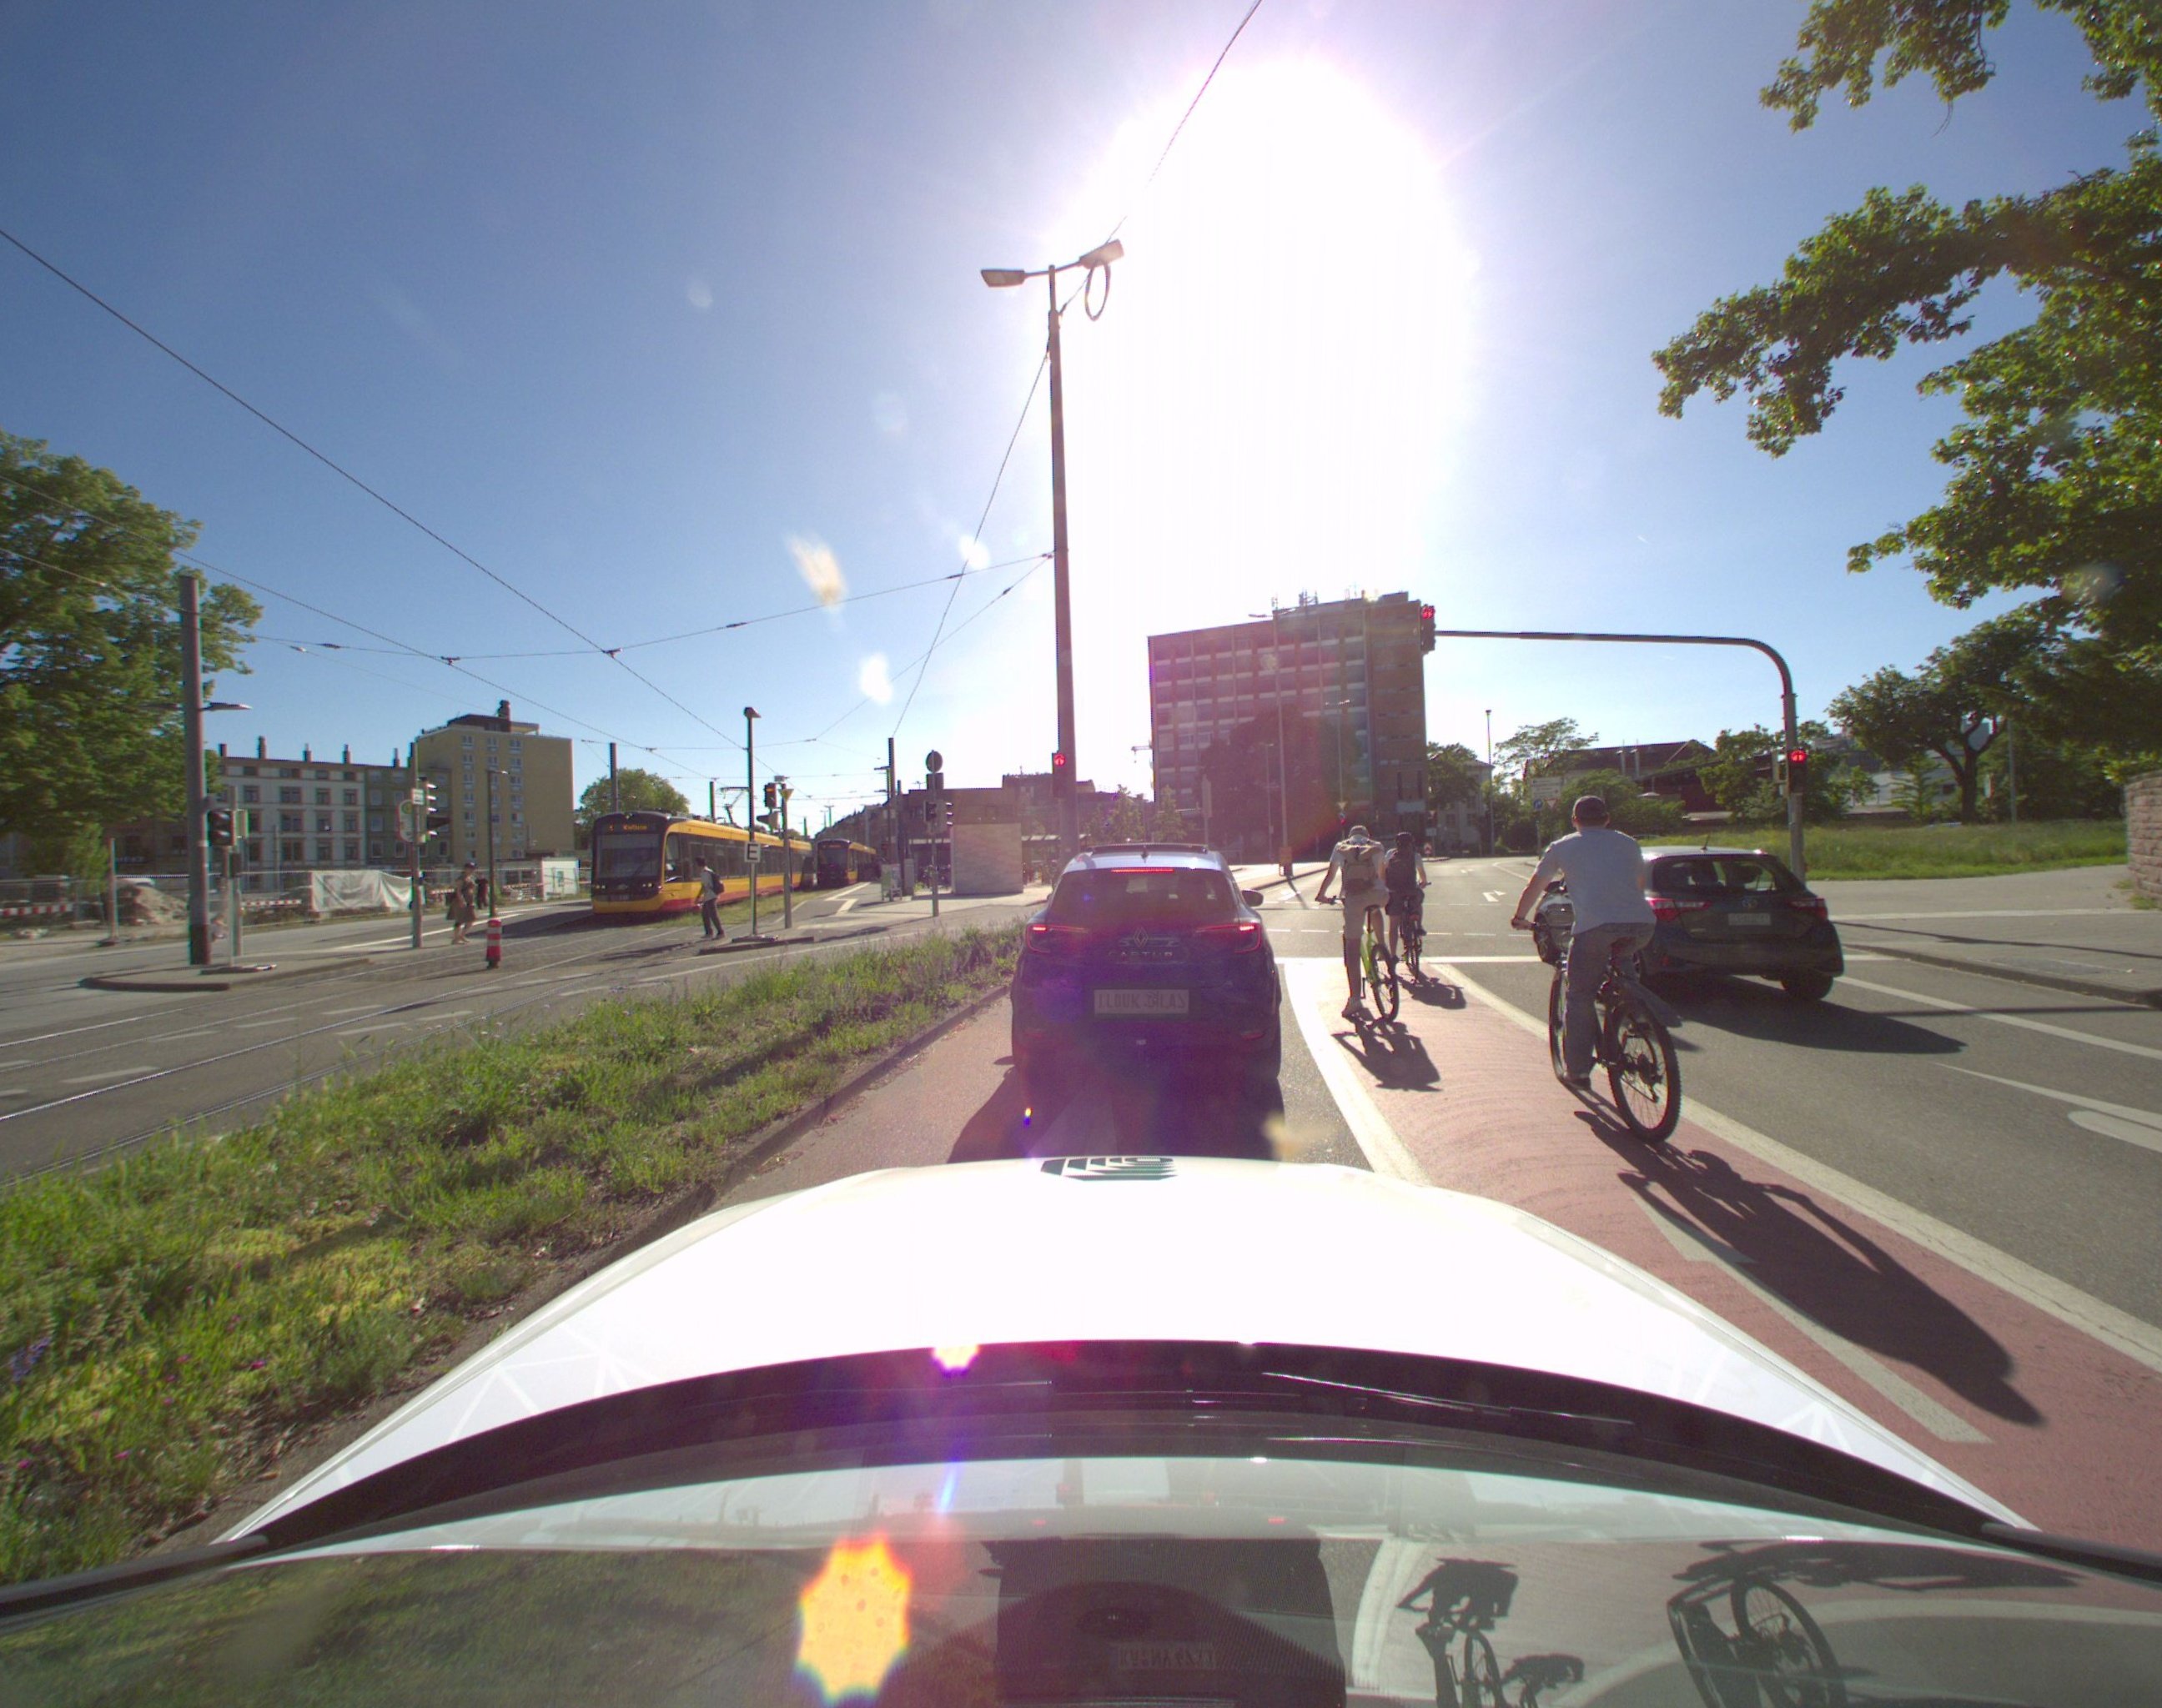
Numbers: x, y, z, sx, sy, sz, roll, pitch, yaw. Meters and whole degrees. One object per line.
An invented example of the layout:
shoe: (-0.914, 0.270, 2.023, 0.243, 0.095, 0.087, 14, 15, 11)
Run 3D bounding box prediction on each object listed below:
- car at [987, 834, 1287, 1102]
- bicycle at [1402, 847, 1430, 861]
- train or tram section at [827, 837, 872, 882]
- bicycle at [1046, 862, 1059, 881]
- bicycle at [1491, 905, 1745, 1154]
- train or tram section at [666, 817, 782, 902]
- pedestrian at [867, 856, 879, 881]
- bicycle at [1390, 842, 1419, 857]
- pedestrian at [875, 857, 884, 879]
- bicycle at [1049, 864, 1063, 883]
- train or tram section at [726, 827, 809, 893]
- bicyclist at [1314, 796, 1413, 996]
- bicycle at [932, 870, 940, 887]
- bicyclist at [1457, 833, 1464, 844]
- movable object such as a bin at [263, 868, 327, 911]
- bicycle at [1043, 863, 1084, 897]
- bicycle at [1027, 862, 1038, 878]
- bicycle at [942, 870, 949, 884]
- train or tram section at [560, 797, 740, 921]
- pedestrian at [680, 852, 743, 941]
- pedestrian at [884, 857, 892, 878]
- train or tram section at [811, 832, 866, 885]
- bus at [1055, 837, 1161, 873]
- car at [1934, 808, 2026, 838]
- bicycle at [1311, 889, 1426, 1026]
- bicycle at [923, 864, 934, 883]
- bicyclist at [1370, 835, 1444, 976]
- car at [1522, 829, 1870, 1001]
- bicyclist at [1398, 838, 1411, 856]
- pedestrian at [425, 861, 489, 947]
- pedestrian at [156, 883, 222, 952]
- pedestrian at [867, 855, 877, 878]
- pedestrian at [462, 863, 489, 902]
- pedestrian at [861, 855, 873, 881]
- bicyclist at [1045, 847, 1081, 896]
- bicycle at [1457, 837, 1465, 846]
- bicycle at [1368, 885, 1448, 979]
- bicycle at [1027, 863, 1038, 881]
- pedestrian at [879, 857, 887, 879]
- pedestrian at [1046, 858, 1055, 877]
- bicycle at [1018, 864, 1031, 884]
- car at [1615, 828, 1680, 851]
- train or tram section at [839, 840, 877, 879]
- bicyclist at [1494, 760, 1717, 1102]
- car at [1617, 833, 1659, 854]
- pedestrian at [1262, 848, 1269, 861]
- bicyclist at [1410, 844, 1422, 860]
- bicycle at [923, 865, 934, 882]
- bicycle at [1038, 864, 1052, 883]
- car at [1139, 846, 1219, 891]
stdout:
car: (0.568, 0.689, 6.796, 1.813, 1.600, 3.666, -1, 0, 8)
bicycle: (38.063, 0.040, 92.551, 2.780, 1.541, 0.888, -1, -2, 15)
train or tram section: (-19.758, 0.456, 69.988, 2.873, 3.508, 10.499, -1, 0, -12)
bicycle: (-1.715, 1.058, 48.960, 0.580, 1.088, 2.053, -1, -1, -7)
bicycle: (3.055, 0.905, 4.861, 0.607, 1.077, 1.836, -2, 0, 12)
train or tram section: (-16.822, 0.257, 39.257, 2.818, 3.508, 10.569, -1, 0, -11)
pedestrian: (-15.843, 1.123, 62.106, 0.848, 1.883, 0.757, -1, -2, -14)
bicycle: (35.266, -0.473, 88.729, 2.775, 1.541, 0.889, -2, -2, 27)
pedestrian: (-17.844, 1.245, 72.105, 0.631, 1.857, 0.701, -1, -2, -7)
bicycle: (-1.322, 1.033, 43.303, 0.580, 0.961, 2.053, -1, -1, -7)
train or tram section: (-18.936, 0.373, 49.925, 2.818, 3.508, 11.166, -1, 0, -11)
bicyclist: (2.619, 0.373, 7.649, 0.660, 1.747, 1.008, -2, 0, 9)
bicycle: (-8.534, 1.442, 47.982, 0.422, 0.938, 1.300, 0, -1, -13)
bicyclist: (47.050, -1.927, 100.886, 0.612, 1.444, 0.824, -2, 0, 32)
movable object such as a bin: (-53.461, 2.405, 55.370, 3.950, 2.796, 1.844, -2, -2, 26)
bicycle: (-0.588, 0.875, 28.201, 0.767, 1.080, 2.044, -3, -1, 16)
bicycle: (-3.354, 1.140, 56.406, 0.580, 1.088, 1.865, -1, -1, -9)
bicycle: (-8.810, 1.488, 53.014, 0.421, 0.938, 1.374, 0, -1, -9)
train or tram section: (-14.690, 0.180, 28.877, 2.820, 3.508, 10.433, -2, 0, -12)
pedestrian: (-8.081, 0.917, 17.856, 1.018, 1.832, 0.757, -4, -1, -14)
pedestrian: (-16.955, 1.218, 71.584, 0.632, 1.857, 0.700, -1, -2, -9)
train or tram section: (-17.602, 0.361, 59.728, 2.873, 3.508, 10.499, -1, 0, -12)
bus: (2.641, 0.223, 86.938, 12.287, 3.396, 2.900, -2, -2, 42)
car: (68.857, -2.317, 62.475, 4.305, 2.014, 2.013, -2, -2, 33)
bicycle: (2.637, 0.898, 7.678, 0.659, 1.047, 1.895, -2, 0, 9)
bicycle: (-8.665, 1.106, 46.268, 0.565, 1.093, 2.023, -1, -1, -9)
bicyclist: (3.975, 0.595, 10.002, 0.716, 1.626, 1.059, -1, 0, 16)
car: (6.583, 0.561, 9.272, 1.744, 1.541, 3.671, -1, 0, 12)
bicyclist: (35.264, -0.798, 88.721, 1.195, 1.897, 0.889, -2, -2, 27)
pedestrian: (-14.281, 1.117, 18.665, 0.902, 1.850, 0.759, -2, 2, -20)
pedestrian: (-24.247, 1.690, 22.150, 0.977, 1.767, 0.856, -2, 0, -32)
pedestrian: (-16.960, 0.992, 66.049, 0.673, 1.857, 0.701, -1, -2, -7)
pedestrian: (-28.036, 1.292, 37.701, 0.668, 1.767, 0.796, -2, 0, -13)
pedestrian: (-15.979, 1.036, 60.775, 0.848, 1.883, 0.757, -1, -2, -14)
bicyclist: (-0.609, 0.594, 28.237, 0.873, 1.644, 1.065, -3, -1, 16)
bicycle: (47.053, -1.595, 100.865, 0.603, 1.093, 1.682, -3, 0, 32)
bicycle: (4.005, 0.911, 10.106, 0.717, 0.960, 1.892, -1, 0, 16)
bicycle: (-2.922, 1.079, 48.917, 0.580, 1.088, 2.053, -1, -1, -7)
pedestrian: (-16.995, 1.228, 69.881, 0.634, 1.857, 0.699, 0, -2, -17)
pedestrian: (-3.019, 1.300, 80.179, 0.721, 1.857, 0.705, -1, -2, 10)
bicycle: (-2.965, 1.053, 42.879, 0.580, 1.058, 1.812, -1, -1, -7)
car: (46.290, -1.187, 66.645, 4.195, 1.568, 1.835, -4, -1, 30)
train or tram section: (-21.879, 0.577, 80.306, 2.873, 3.508, 10.499, -1, 0, -12)
bicyclist: (3.013, 0.408, 4.799, 0.744, 1.776, 1.017, -2, -1, 12)
car: (54.147, -1.040, 79.149, 3.873, 1.935, 1.889, 0, -2, -30)
pedestrian: (22.804, 0.067, 100.672, 0.555, 1.670, 0.479, -2, -2, 39)
bicyclist: (38.060, -0.266, 92.551, 1.148, 1.797, 0.888, -1, -2, 16)
bicycle: (-9.852, 1.275, 52.608, 0.565, 1.093, 2.023, -1, -1, -9)
bicycle: (-1.936, 1.042, 43.230, 0.580, 0.961, 2.053, -1, -1, -7)
car: (3.718, 0.503, 30.284, 1.784, 1.393, 4.116, -2, 1, 23)
